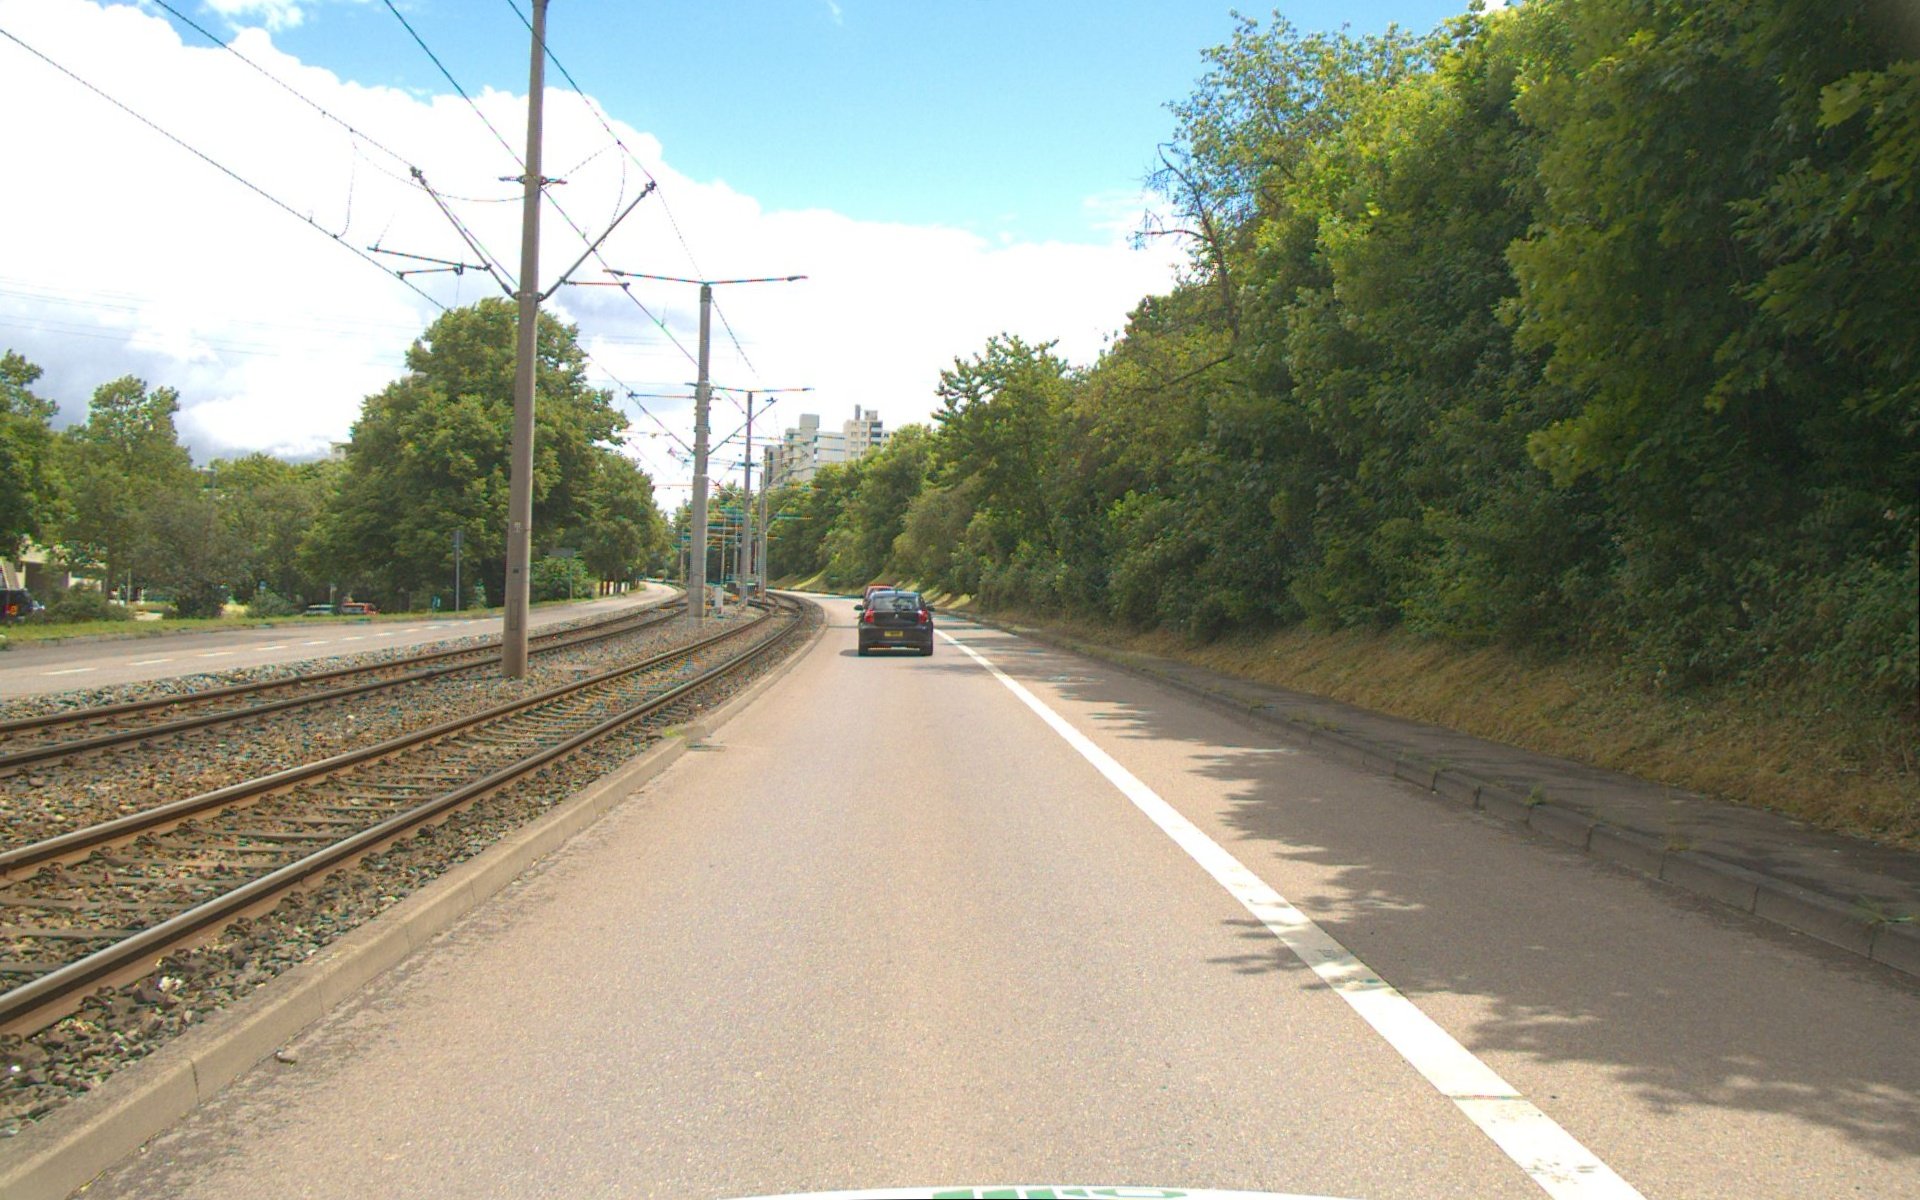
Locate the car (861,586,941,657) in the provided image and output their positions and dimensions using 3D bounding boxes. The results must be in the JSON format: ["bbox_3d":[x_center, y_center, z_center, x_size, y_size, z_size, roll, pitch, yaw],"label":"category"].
[{"bbox_3d":[-1.327,0.490,38.227,1.674,1.486,3.959,3,-1,-1],"label":"car"}]

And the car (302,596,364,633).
[{"bbox_3d":[-31.781,0.719,83.937,1.780,1.802,3.998,0,1,-3],"label":"car"}]

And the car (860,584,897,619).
[{"bbox_3d":[-3.739,0.084,75.718,1.592,1.469,3.419,3,-2,-3],"label":"car"}]

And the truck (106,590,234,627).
[{"bbox_3d":[-61.849,0.622,129.588,8.986,2.742,2.591,-1,0,-28],"label":"truck"}]

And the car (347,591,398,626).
[{"bbox_3d":[-32.425,0.446,91.404,1.781,1.802,3.995,0,1,-7],"label":"car"}]
